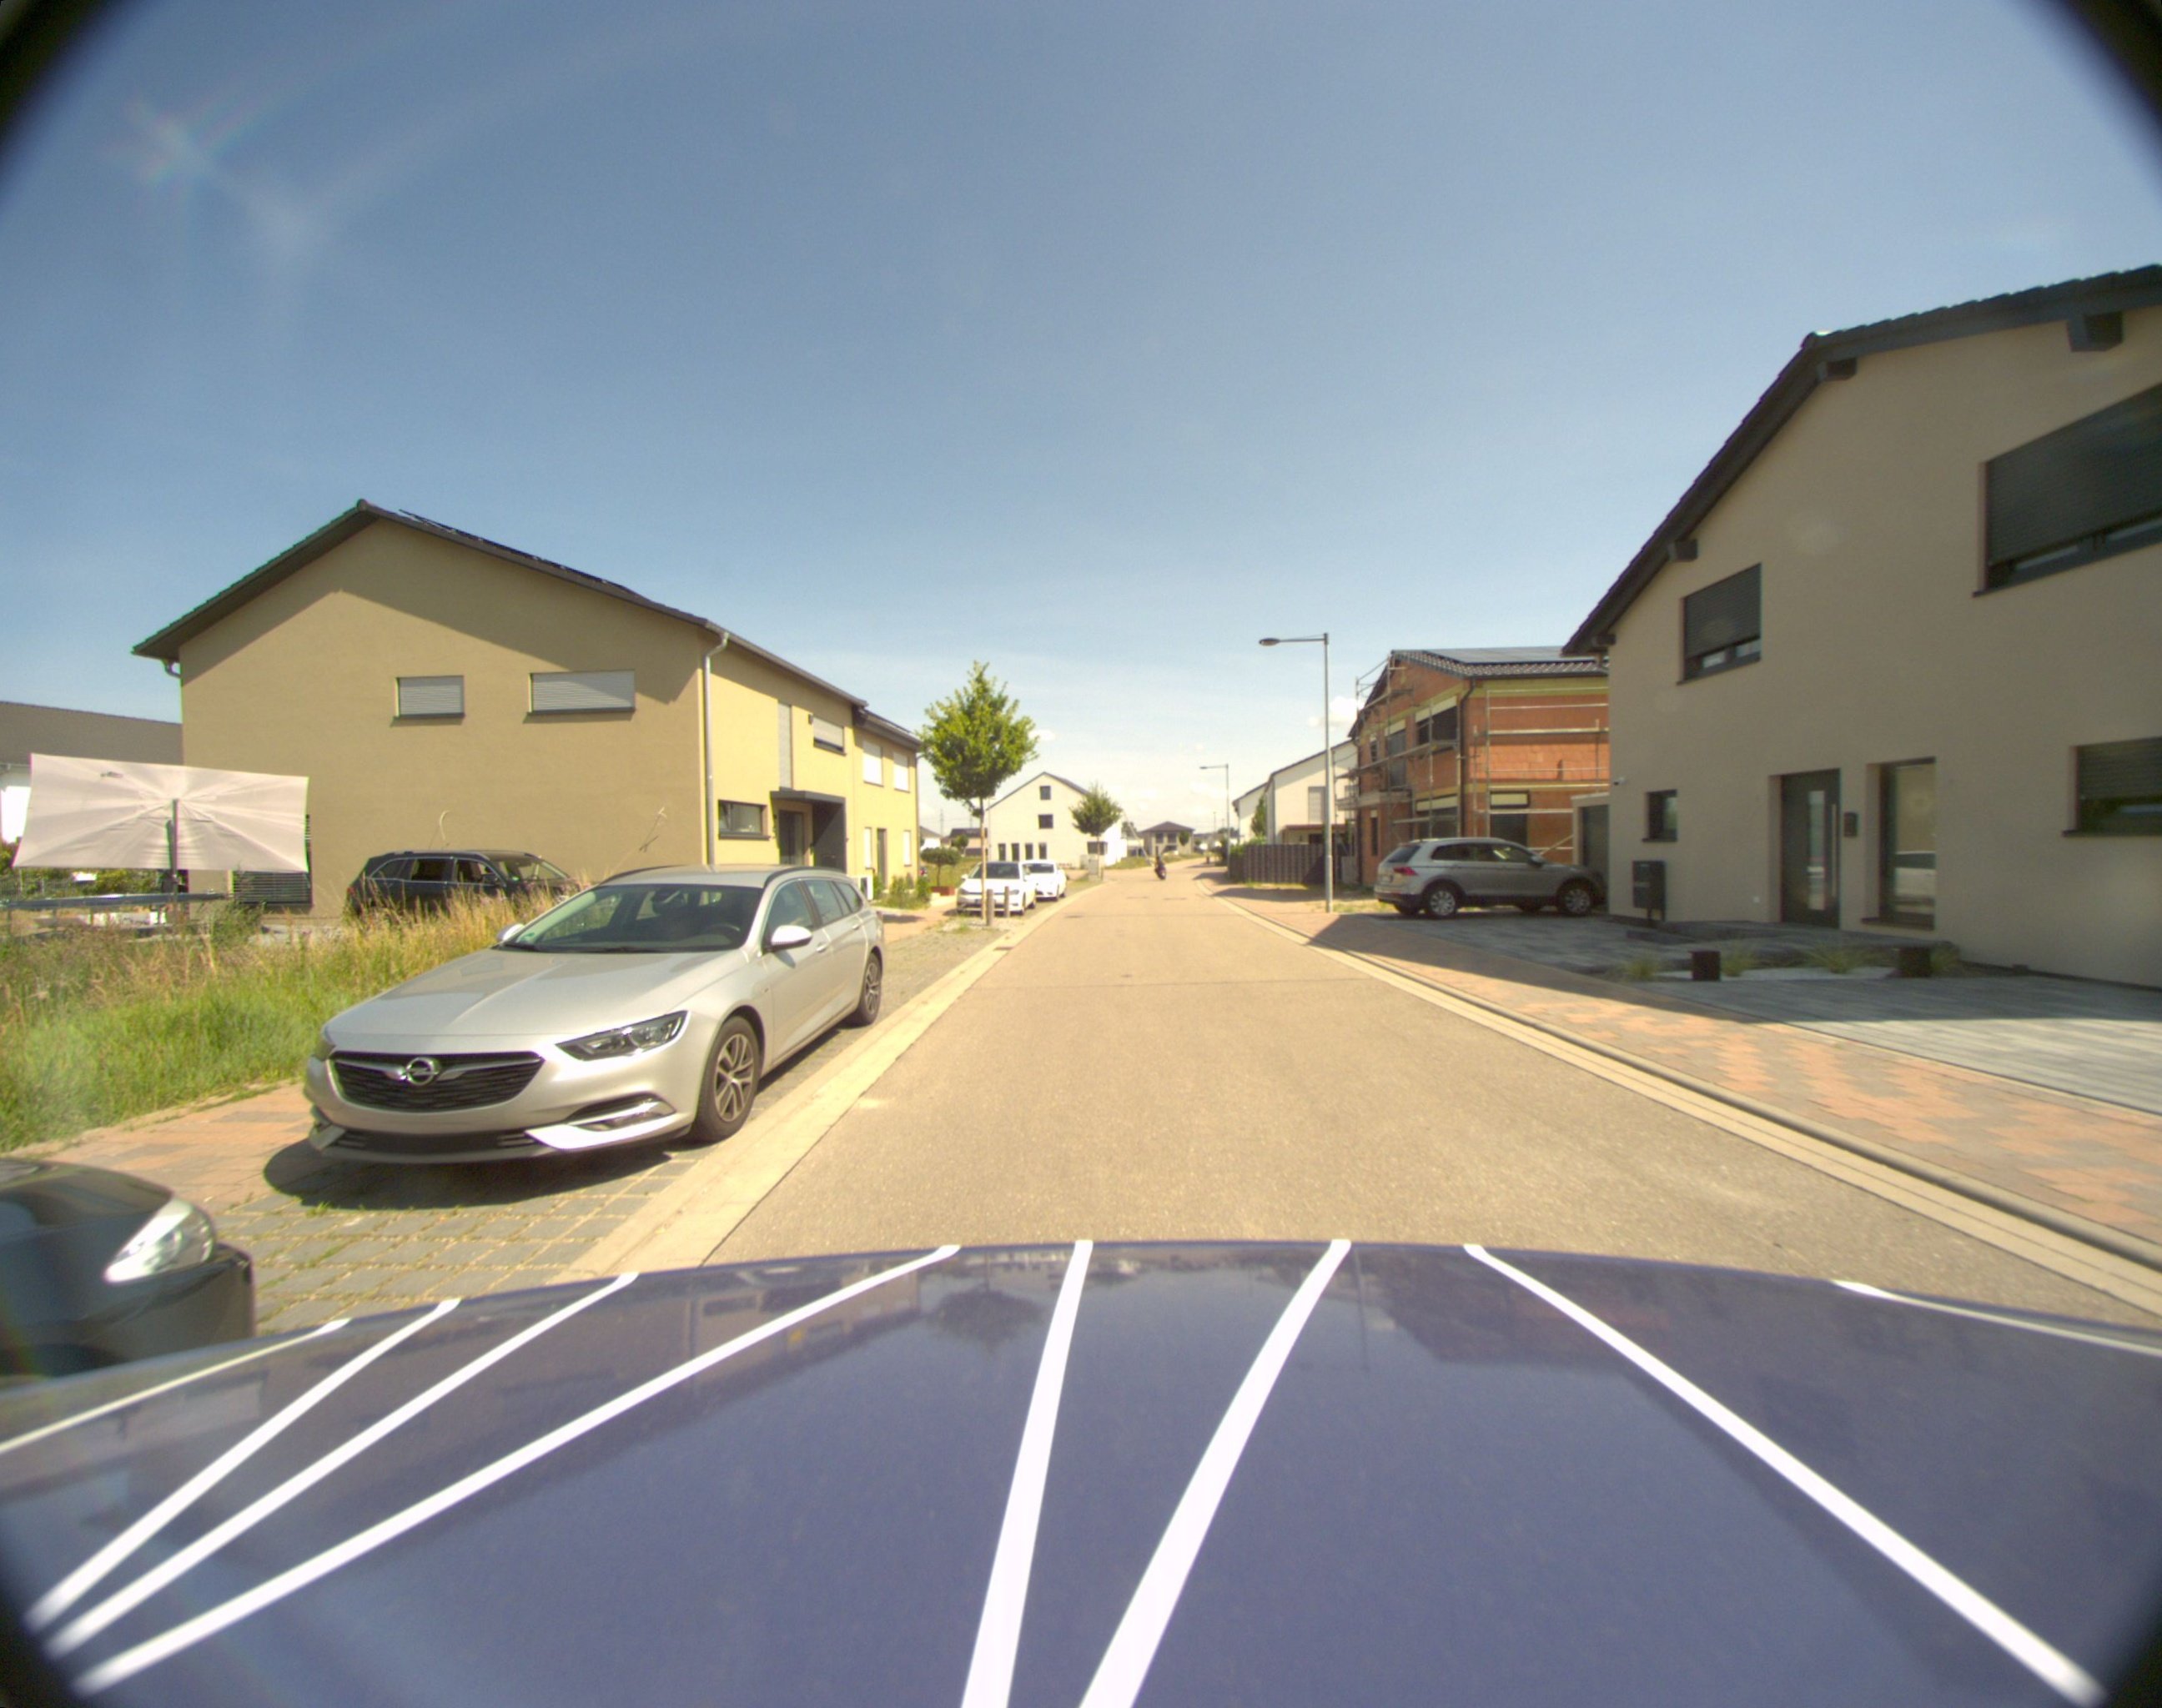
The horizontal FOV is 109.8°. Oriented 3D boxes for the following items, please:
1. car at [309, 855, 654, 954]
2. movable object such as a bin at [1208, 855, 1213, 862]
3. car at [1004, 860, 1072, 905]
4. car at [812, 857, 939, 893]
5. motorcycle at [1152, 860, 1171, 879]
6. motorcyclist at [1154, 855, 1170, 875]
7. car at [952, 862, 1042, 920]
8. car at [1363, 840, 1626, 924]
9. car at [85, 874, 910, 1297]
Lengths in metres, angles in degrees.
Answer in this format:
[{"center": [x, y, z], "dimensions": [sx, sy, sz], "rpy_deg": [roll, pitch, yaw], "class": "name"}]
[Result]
[{"center": [-10.785, 0.872, 13.948], "dimensions": [4.757, 1.635, 2.000], "rpy_deg": [0, 2, 2], "class": "car"}, {"center": [15.722, 0.527, 92.203], "dimensions": [0.597, 0.916, 0.462], "rpy_deg": [-1, 1, 14], "class": "movable object such as a bin"}, {"center": [-1.476, 0.983, 27.844], "dimensions": [1.818, 1.447, 4.566], "rpy_deg": [0, 0, 5], "class": "car"}, {"center": [-8.864, 0.883, 32.976], "dimensions": [4.897, 1.417, 2.001], "rpy_deg": [1, 0, 7], "class": "car"}, {"center": [5.029, 0.966, 47.214], "dimensions": [0.957, 1.029, 2.437], "rpy_deg": [-3, 1, 10], "class": "motorcycle"}, {"center": [5.052, 0.668, 47.365], "dimensions": [0.926, 1.215, 0.804], "rpy_deg": [-3, 0, 10], "class": "motorcyclist"}, {"center": [-2.255, 0.967, 21.555], "dimensions": [1.783, 1.417, 4.515], "rpy_deg": [0, 0, 4], "class": "car"}, {"center": [8.511, 0.551, 15.970], "dimensions": [4.435, 1.602, 2.000], "rpy_deg": [-1, 0, 1], "class": "car"}, {"center": [-2.846, 0.958, 5.568], "dimensions": [1.923, 1.502, 5.295], "rpy_deg": [0, 0, 1], "class": "car"}]
